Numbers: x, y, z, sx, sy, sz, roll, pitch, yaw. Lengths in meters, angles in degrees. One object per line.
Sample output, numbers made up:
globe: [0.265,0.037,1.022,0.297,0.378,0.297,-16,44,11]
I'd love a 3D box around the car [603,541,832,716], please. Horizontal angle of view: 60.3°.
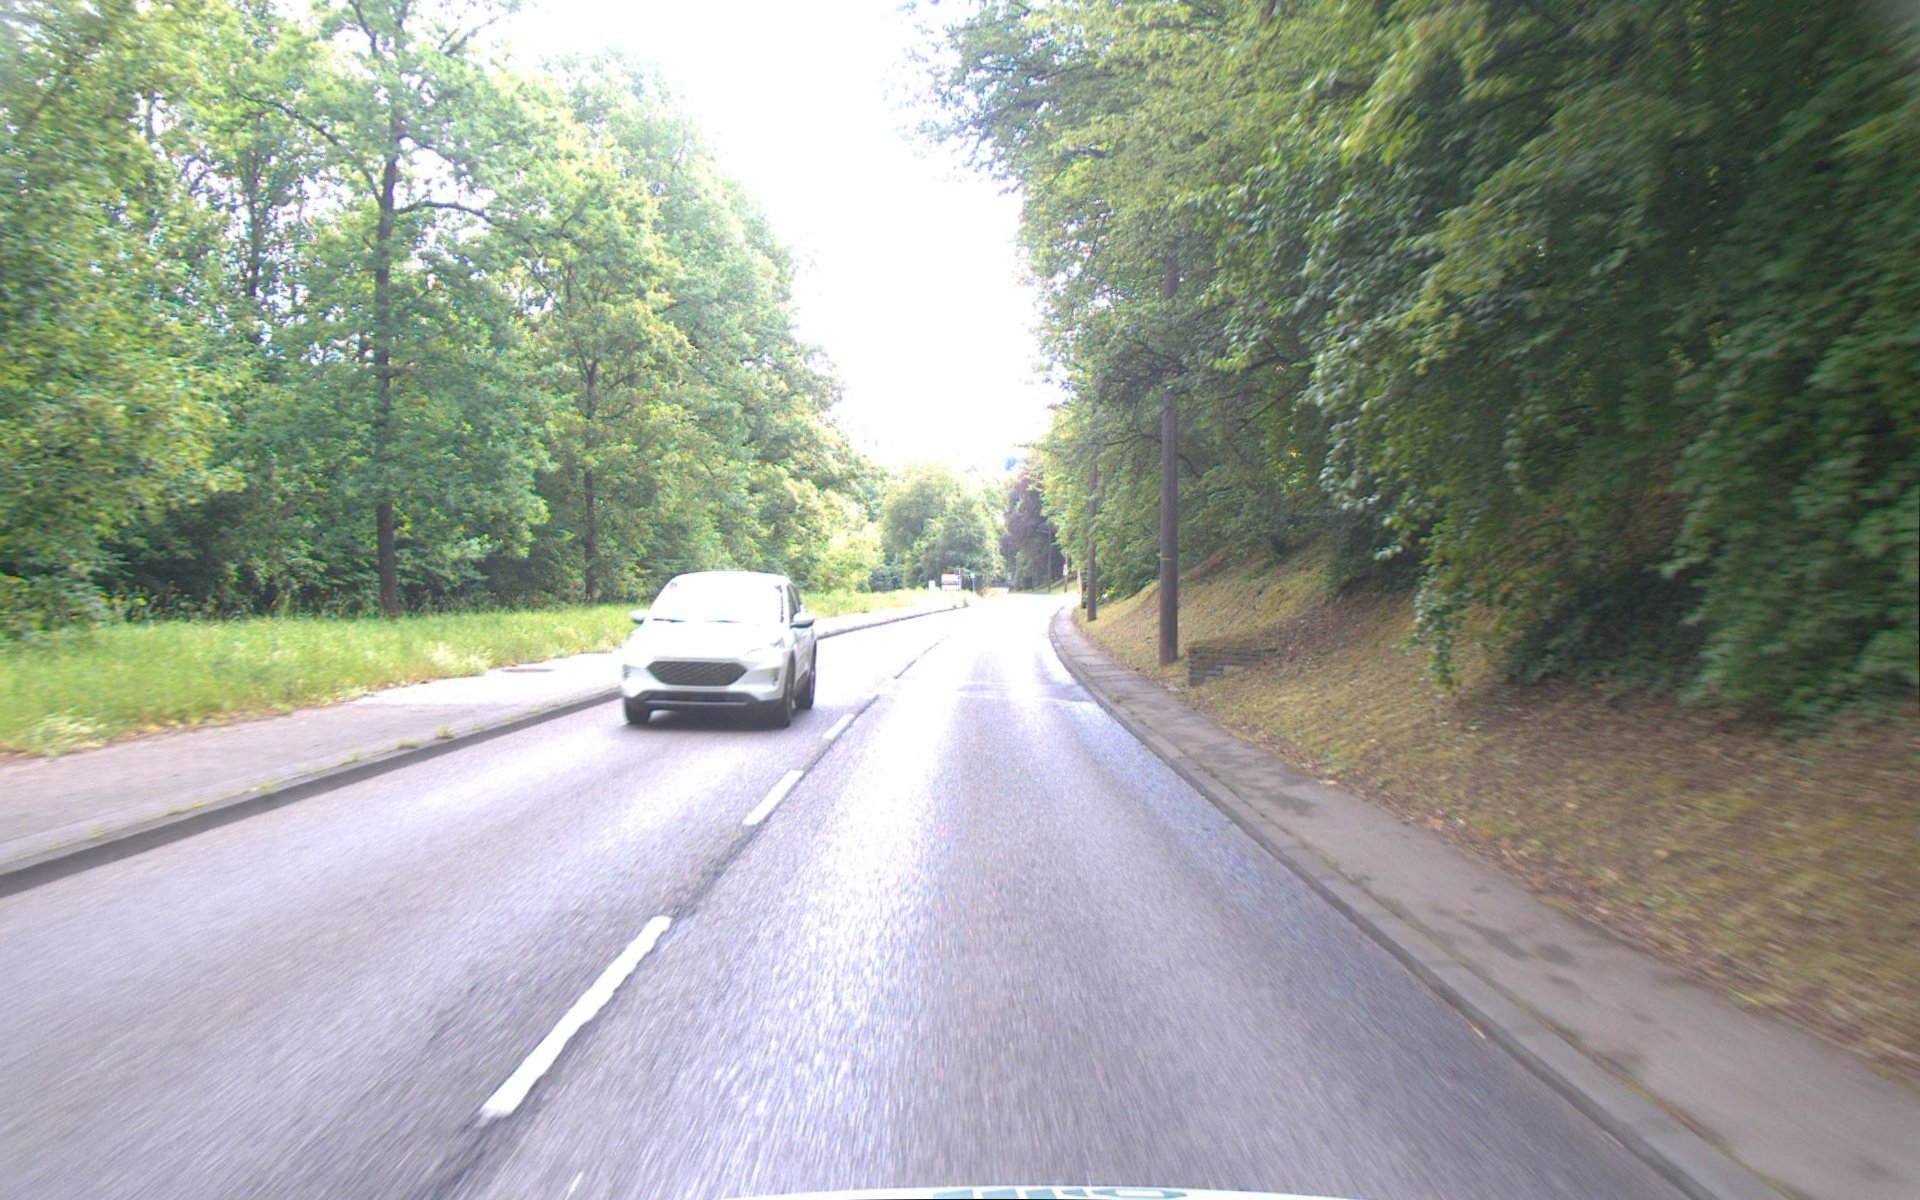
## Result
car: [-2.697,0.313,19.560,1.952,1.784,4.782,1,0,0]
